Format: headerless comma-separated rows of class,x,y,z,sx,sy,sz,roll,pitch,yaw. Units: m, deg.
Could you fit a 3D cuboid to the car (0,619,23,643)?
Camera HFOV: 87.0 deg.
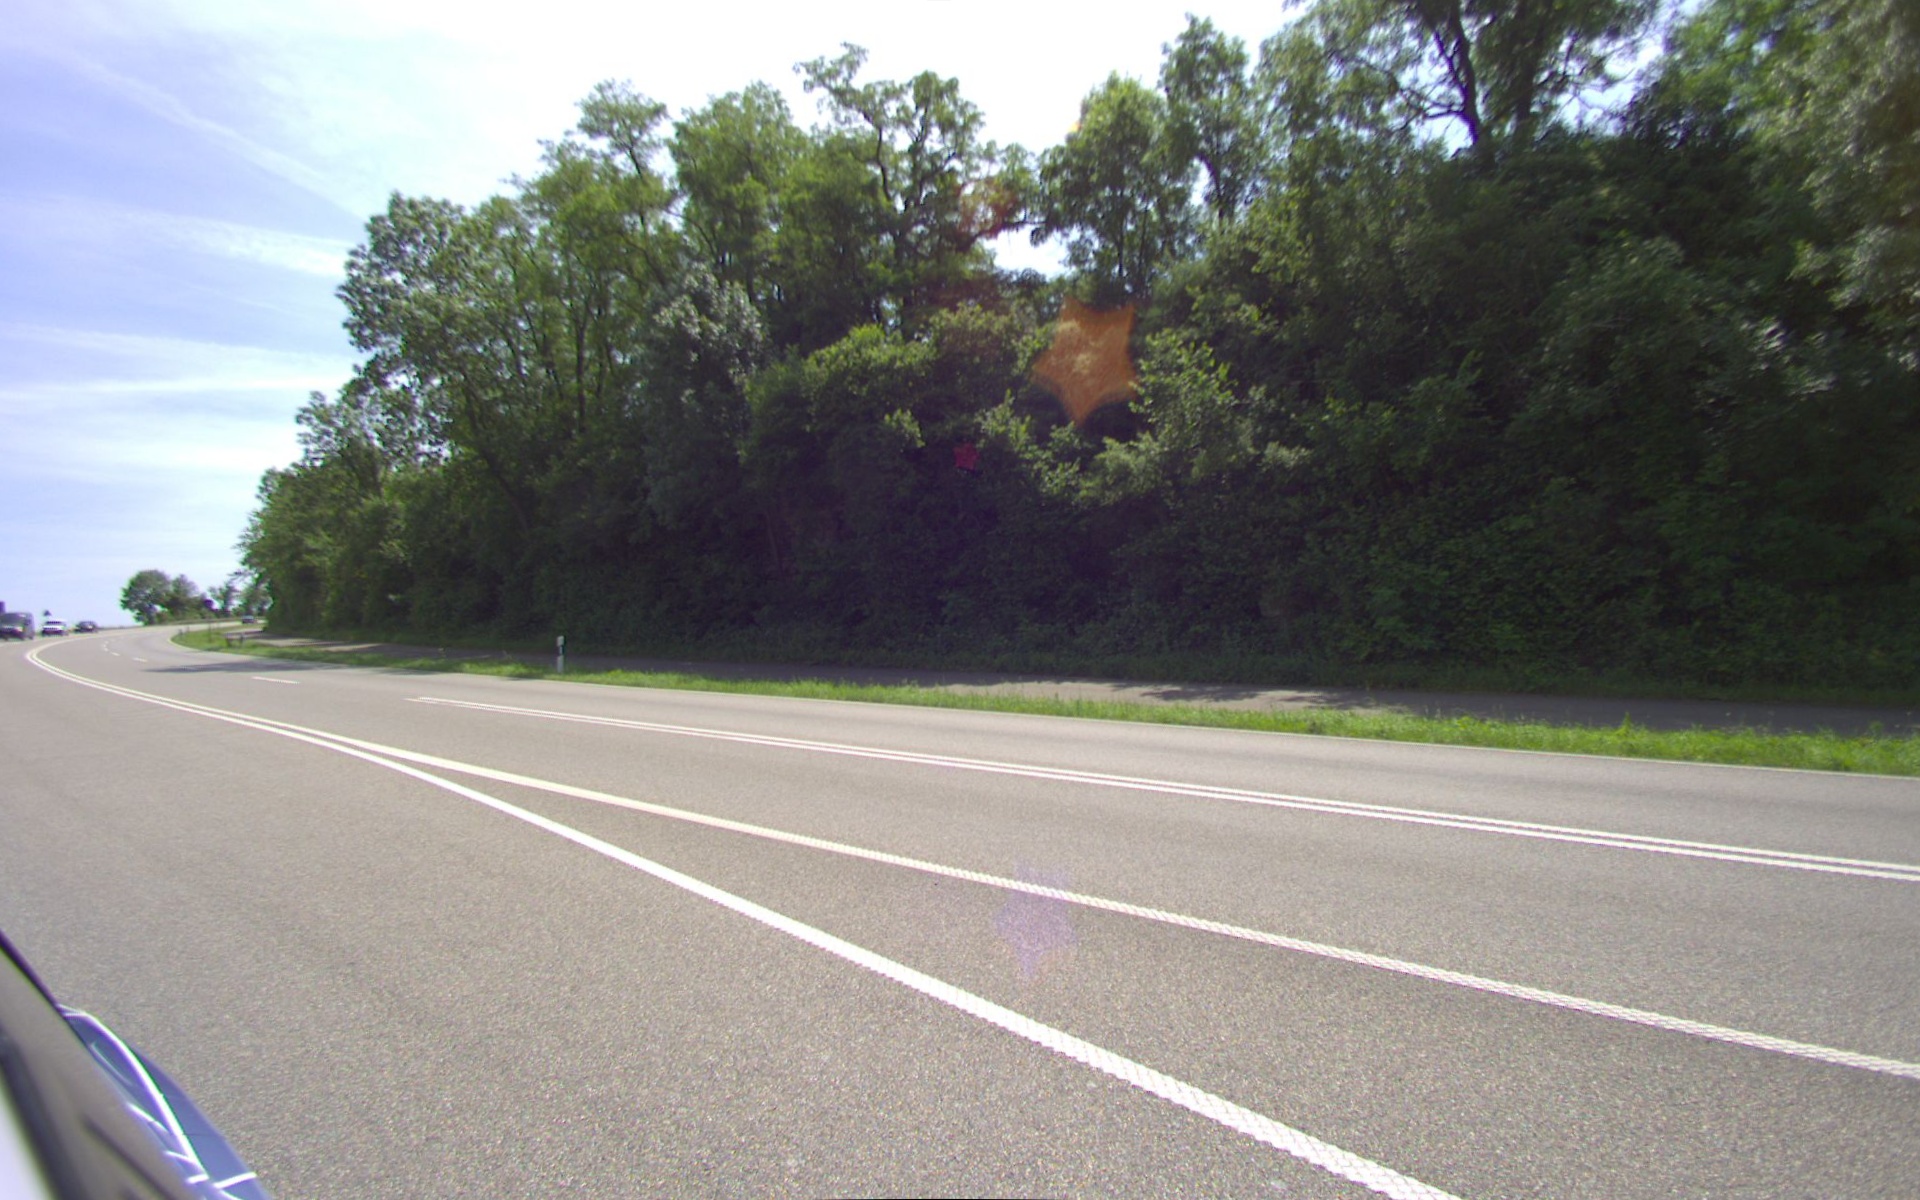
car,-85.145,2.775,90.043,1.966,2.029,4.011,0,-1,-33

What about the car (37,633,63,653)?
car,-98.368,4.606,109.453,1.823,2.029,3.880,0,0,-38

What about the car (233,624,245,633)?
car,-126.061,4.953,176.930,1.779,1.398,3.879,-1,-1,-35

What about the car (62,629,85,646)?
car,-108.666,4.575,124.090,1.738,1.874,3.819,0,0,-35
